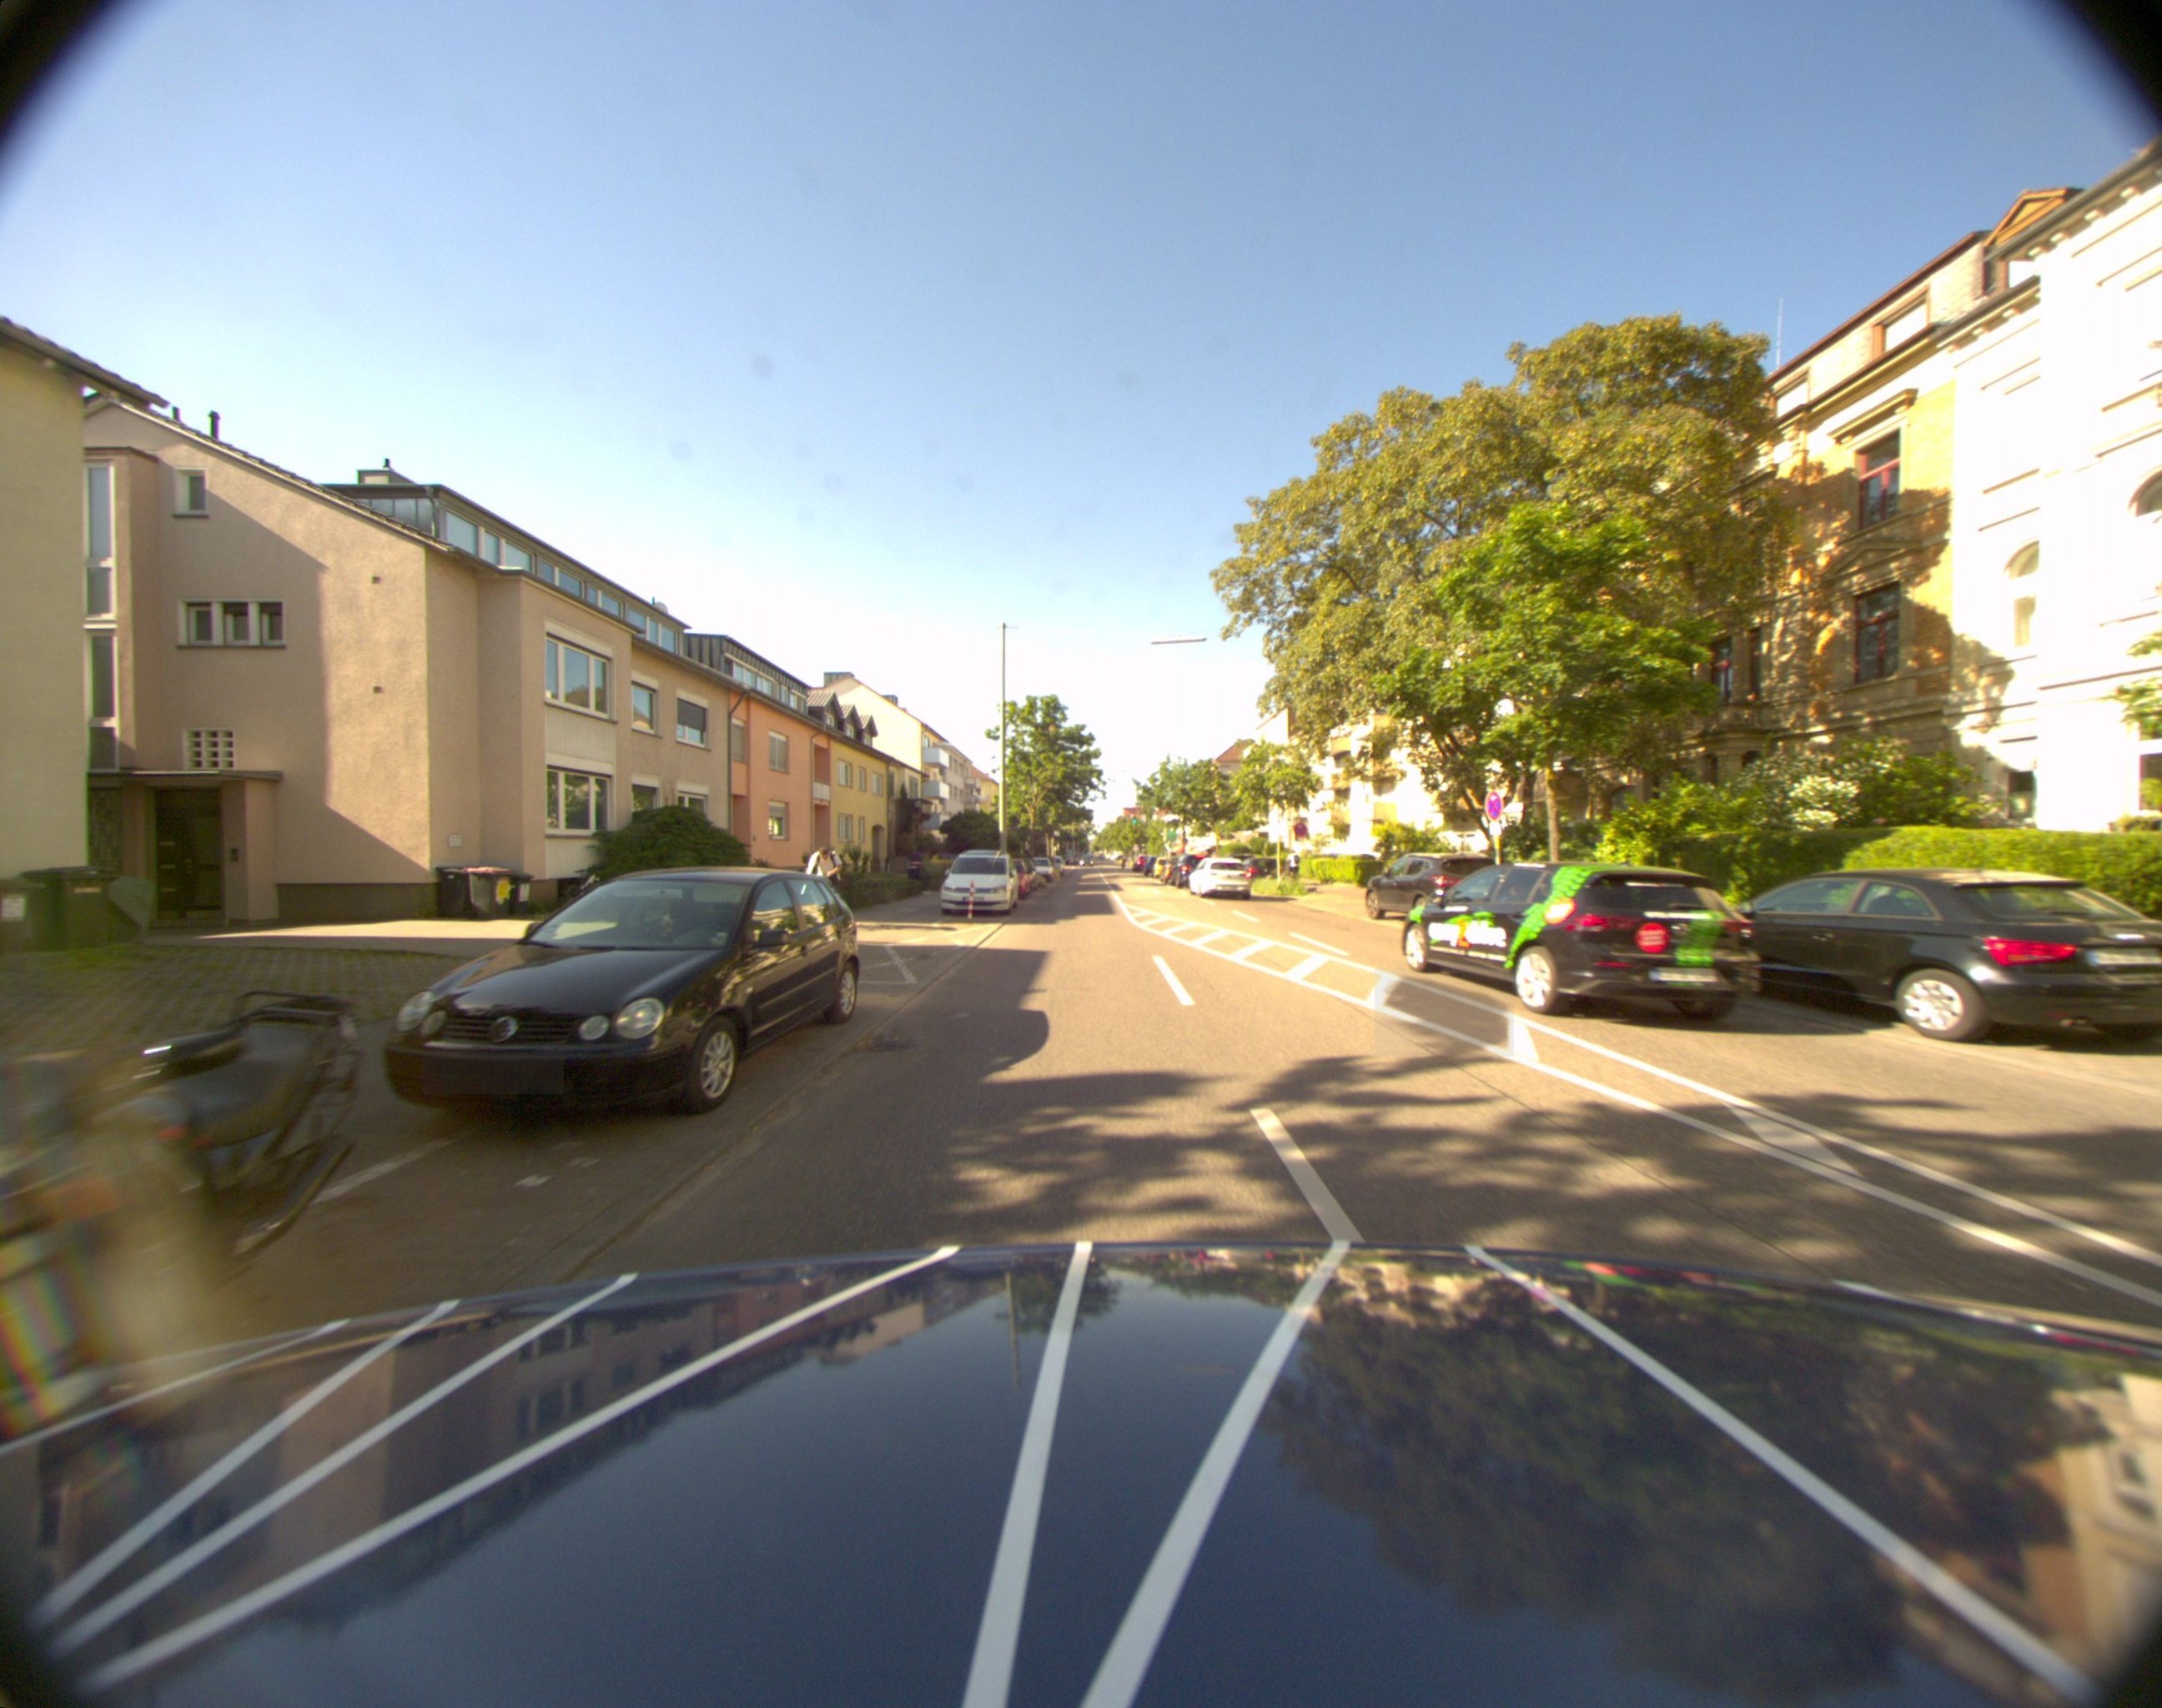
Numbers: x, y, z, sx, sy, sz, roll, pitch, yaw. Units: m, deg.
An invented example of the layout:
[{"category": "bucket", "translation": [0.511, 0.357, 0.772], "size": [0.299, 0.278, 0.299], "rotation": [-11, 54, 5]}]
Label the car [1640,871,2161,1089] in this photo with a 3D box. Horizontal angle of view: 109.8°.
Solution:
[{"category": "car", "translation": [7.861, 0.960, 7.531], "size": [1.641, 1.408, 4.089], "rotation": [-2, 0, 1]}]

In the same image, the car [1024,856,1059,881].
[{"category": "car", "translation": [-2.284, 0.818, 44.673], "size": [1.653, 1.395, 3.970], "rotation": [1, 0, 2]}]

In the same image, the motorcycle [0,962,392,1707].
[{"category": "motorcycle", "translation": [-2.674, 1.090, 1.952], "size": [0.701, 1.264, 2.426], "rotation": [1, 0, -27]}]

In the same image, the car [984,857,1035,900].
[{"category": "car", "translation": [-2.570, 0.843, 27.977], "size": [1.536, 1.441, 3.717], "rotation": [0, 0, -1]}]

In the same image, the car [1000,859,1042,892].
[{"category": "car", "translation": [-2.579, 0.897, 33.342], "size": [1.535, 1.348, 3.717], "rotation": [0, 0, 1]}]

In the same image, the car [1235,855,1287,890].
[{"category": "car", "translation": [8.280, 0.833, 35.291], "size": [1.605, 1.468, 3.931], "rotation": [-1, 0, 2]}]

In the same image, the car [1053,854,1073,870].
[{"category": "car", "translation": [-1.696, 0.753, 72.265], "size": [1.743, 1.473, 4.196], "rotation": [1, 0, 1]}]

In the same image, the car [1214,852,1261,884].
[{"category": "car", "translation": [8.371, 0.707, 40.938], "size": [1.674, 1.596, 4.394], "rotation": [-1, 0, 1]}]

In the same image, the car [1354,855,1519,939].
[{"category": "car", "translation": [7.781, 0.850, 17.134], "size": [1.629, 1.579, 4.347], "rotation": [-2, 0, 0]}]

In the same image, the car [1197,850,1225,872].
[{"category": "car", "translation": [9.087, 0.449, 53.424], "size": [1.404, 1.480, 3.685], "rotation": [-1, 0, 2]}]

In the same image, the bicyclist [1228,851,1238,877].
[{"category": "bicyclist", "translation": [10.462, 0.669, 52.314], "size": [0.610, 1.744, 0.691], "rotation": [0, 1, 1]}]

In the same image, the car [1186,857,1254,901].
[{"category": "car", "translation": [5.004, 0.868, 27.850], "size": [1.737, 1.404, 4.192], "rotation": [2, 0, 1]}]

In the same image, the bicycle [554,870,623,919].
[{"category": "bicycle", "translation": [-11.444, 0.924, 17.720], "size": [0.456, 0.987, 1.743], "rotation": [2, 2, 1]}]

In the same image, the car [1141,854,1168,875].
[{"category": "car", "translation": [5.625, 0.759, 58.500], "size": [1.660, 1.508, 4.076], "rotation": [2, 0, 1]}]

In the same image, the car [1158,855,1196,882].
[{"category": "car", "translation": [5.372, 0.781, 42.999], "size": [1.585, 1.443, 3.744], "rotation": [0, 0, -2]}]

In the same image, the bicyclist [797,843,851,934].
[{"category": "bicyclist", "translation": [-5.255, 0.682, 15.570], "size": [0.726, 1.783, 1.015], "rotation": [1, 1, 1]}]

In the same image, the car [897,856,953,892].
[{"category": "car", "translation": [-6.558, 0.805, 32.342], "size": [1.535, 1.348, 3.717], "rotation": [2, 0, 1]}]

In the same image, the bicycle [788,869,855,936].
[{"category": "bicycle", "translation": [-5.267, 0.951, 15.529], "size": [0.699, 1.239, 1.822], "rotation": [1, 0, 1]}]

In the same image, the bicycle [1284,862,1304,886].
[{"category": "bicycle", "translation": [10.432, 0.960, 37.214], "size": [0.450, 1.109, 1.764], "rotation": [-2, 0, 0]}]

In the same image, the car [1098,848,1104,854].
[{"category": "car", "translation": [6.564, -0.981, 249.683], "size": [1.966, 1.910, 5.496], "rotation": [0, 0, 1]}]

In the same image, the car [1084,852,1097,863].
[{"category": "car", "translation": [1.275, 0.464, 98.762], "size": [1.654, 1.348, 4.304], "rotation": [0, 0, 1]}]

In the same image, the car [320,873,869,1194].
[{"category": "car", "translation": [-2.952, 0.941, 5.627], "size": [1.624, 1.490, 3.649], "rotation": [1, 0, 2]}]

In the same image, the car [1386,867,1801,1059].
[{"category": "car", "translation": [5.078, 0.938, 8.369], "size": [1.696, 1.445, 4.173], "rotation": [2, 0, 0]}]

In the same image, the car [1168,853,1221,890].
[{"category": "car", "translation": [5.310, 0.770, 36.055], "size": [1.841, 1.604, 4.400], "rotation": [2, 0, 0]}]

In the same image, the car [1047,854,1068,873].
[{"category": "car", "translation": [-1.874, 0.761, 61.608], "size": [1.571, 1.448, 3.865], "rotation": [1, 0, 1]}]

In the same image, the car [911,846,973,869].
[{"category": "car", "translation": [-9.814, 0.243, 54.013], "size": [3.997, 1.433, 1.831], "rotation": [3, 1, 1]}]

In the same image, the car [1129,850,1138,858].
[{"category": "car", "translation": [9.066, 0.055, 130.626], "size": [1.322, 1.348, 3.093], "rotation": [0, 0, 1]}]

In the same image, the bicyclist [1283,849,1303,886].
[{"category": "bicyclist", "translation": [10.407, 0.665, 37.265], "size": [0.584, 1.756, 1.208], "rotation": [-2, 1, 0]}]

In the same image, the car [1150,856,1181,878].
[{"category": "car", "translation": [5.693, 0.840, 51.528], "size": [1.639, 1.395, 3.735], "rotation": [2, 0, -1]}]

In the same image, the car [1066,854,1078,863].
[{"category": "car", "translation": [-1.371, 0.719, 122.820], "size": [1.822, 1.542, 4.304], "rotation": [0, 0, 1]}]

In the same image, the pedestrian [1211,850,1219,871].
[{"category": "pedestrian", "translation": [10.261, 0.482, 58.270], "size": [0.470, 1.641, 0.719], "rotation": [-1, 1, 1]}]

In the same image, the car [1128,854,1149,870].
[{"category": "car", "translation": [5.888, 0.788, 77.731], "size": [1.818, 1.456, 4.778], "rotation": [2, 0, 1]}]

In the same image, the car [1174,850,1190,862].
[{"category": "car", "translation": [14.250, 0.250, 107.476], "size": [1.764, 1.613, 4.304], "rotation": [0, 0, 1]}]

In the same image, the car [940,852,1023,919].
[{"category": "car", "translation": [-2.658, 0.785, 21.148], "size": [1.773, 1.649, 4.340], "rotation": [1, 0, -1]}]

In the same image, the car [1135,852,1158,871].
[{"category": "car", "translation": [5.948, 0.632, 69.303], "size": [1.726, 1.607, 4.300], "rotation": [2, 0, 1]}]

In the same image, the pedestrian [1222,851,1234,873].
[{"category": "pedestrian", "translation": [11.340, 0.617, 58.612], "size": [0.671, 1.677, 0.929], "rotation": [-1, 1, 0]}]

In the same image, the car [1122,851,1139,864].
[{"category": "car", "translation": [5.888, 0.408, 90.587], "size": [1.702, 1.398, 4.505], "rotation": [2, 0, 0]}]
